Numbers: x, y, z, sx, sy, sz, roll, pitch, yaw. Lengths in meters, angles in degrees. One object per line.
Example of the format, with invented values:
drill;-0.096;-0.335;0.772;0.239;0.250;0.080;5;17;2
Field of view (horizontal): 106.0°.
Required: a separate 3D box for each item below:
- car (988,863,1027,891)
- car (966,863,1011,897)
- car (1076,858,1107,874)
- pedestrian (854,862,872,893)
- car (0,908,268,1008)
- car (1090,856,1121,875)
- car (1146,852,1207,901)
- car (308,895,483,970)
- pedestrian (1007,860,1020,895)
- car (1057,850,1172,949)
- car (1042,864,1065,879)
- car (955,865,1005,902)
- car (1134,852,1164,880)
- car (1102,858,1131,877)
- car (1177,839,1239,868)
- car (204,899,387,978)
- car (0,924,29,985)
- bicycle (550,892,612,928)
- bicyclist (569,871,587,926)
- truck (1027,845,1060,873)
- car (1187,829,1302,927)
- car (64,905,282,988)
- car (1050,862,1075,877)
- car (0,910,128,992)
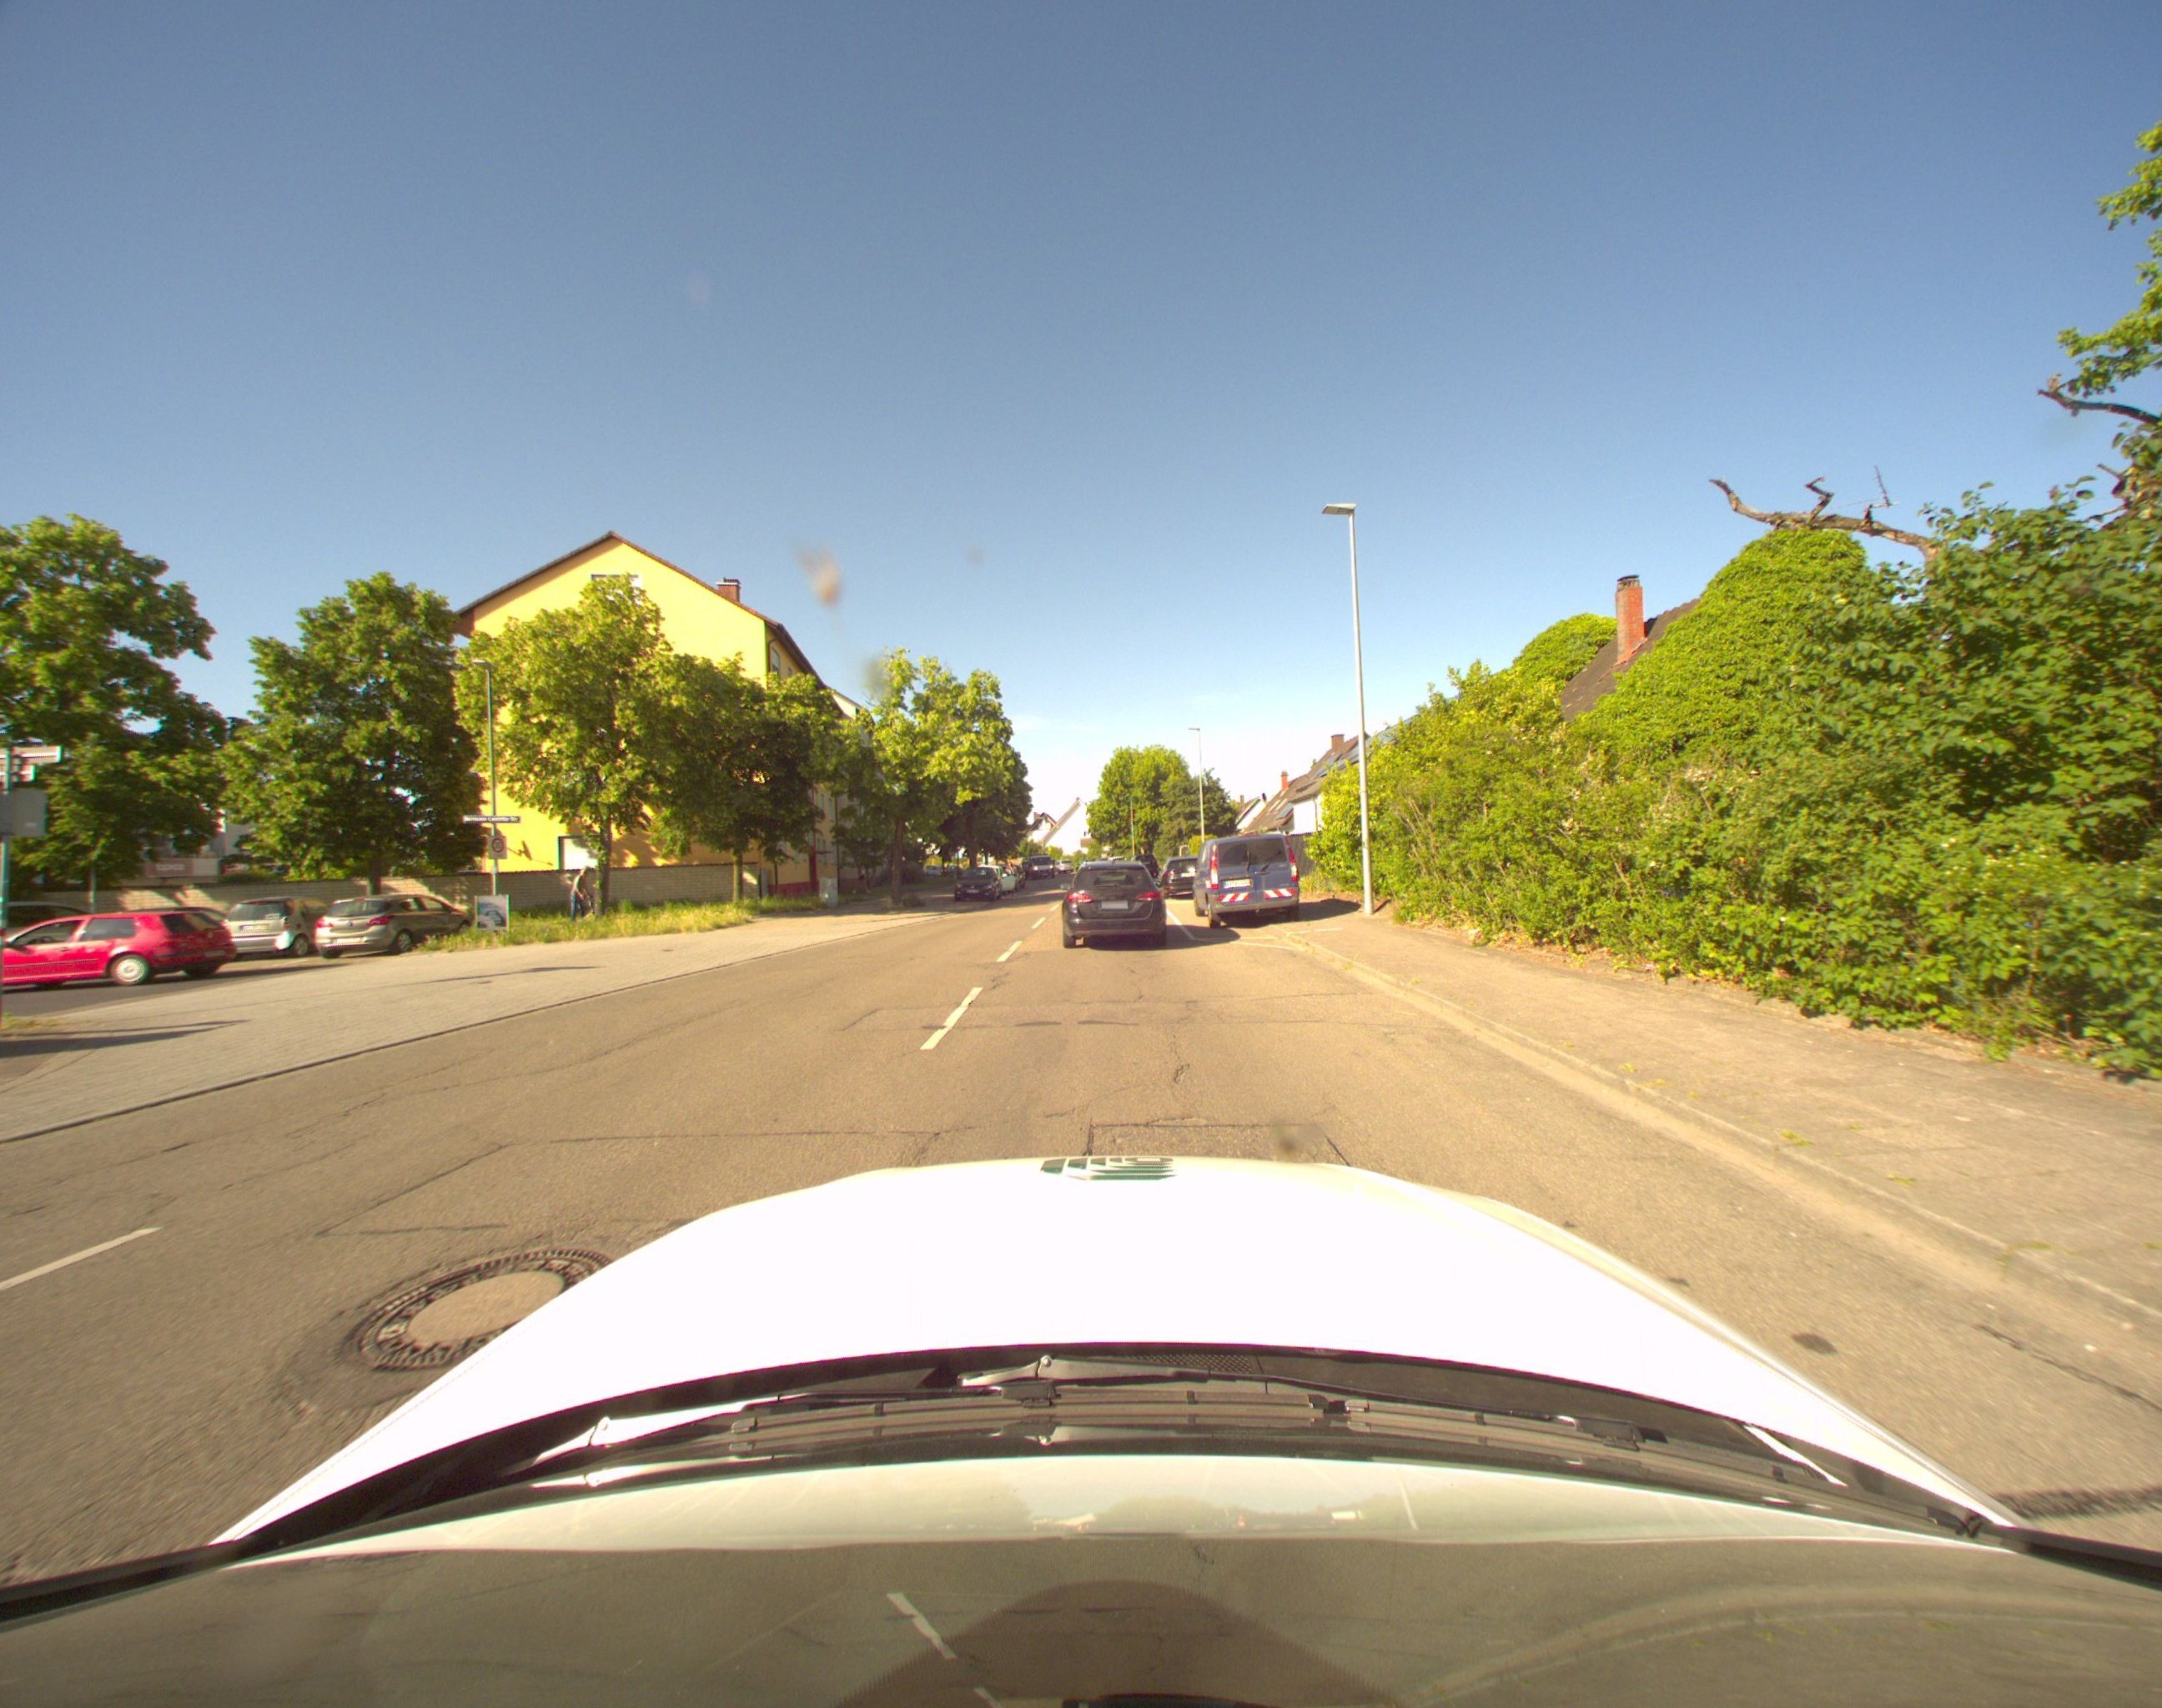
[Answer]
car;-4.405;1.373;49.160;1.650;1.510;4.004;-3;-1;3
car;-4.615;1.305;40.998;1.695;1.523;4.051;-5;-2;0
car;1.026;1.223;82.464;2.009;1.475;4.273;-4;-1;-14
pedestrian;-12.303;1.341;45.918;0.683;1.718;0.720;-4;-2;1
car;-19.768;2.067;16.346;4.386;1.568;2.008;-2;0;-15
car;2.287;1.111;76.864;1.913;1.600;4.276;-4;-1;-12
car;3.381;0.736;29.716;1.758;1.480;4.995;-5;0;3
car;-17.658;1.948;21.232;1.730;1.464;3.867;-4;0;-11
pedestrian;-3.457;1.195;41.480;0.503;1.761;0.694;-4;-2;-2
car;0.606;0.751;15.105;1.755;1.491;4.292;-3;-1;2
car;-3.285;2.080;96.209;1.823;1.534;4.237;-4;-1;-15
car;-4.344;1.290;35.430;1.696;1.480;4.049;-2;-2;-1
car;4.661;0.816;56.392;1.771;1.724;4.296;-4;-1;2
car;3.139;1.233;72.446;1.760;1.480;4.281;-4;-1;-8
car;10.250;-0.063;66.141;4.663;1.983;2.144;-4;-1;1
car;-20.726;2.158;21.731;1.700;1.622;3.863;-3;0;-14
car;-28.027;2.628;19.286;1.502;1.505;3.868;-4;0;-10
bicycle;-15.693;1.751;25.595;1.627;1.011;0.402;-3;0;-30
bicyclist;-15.788;1.384;25.571;0.391;1.686;0.378;-3;-3;-30
truck;-3.449;0.465;76.515;2.119;2.334;6.451;-5;-1;5
car;3.615;0.494;18.821;1.829;1.907;4.701;-3;0;3
car;-22.815;2.246;20.713;1.700;1.463;3.864;-3;2;-14
car;-2.078;1.792;91.240;1.823;1.534;4.237;-4;-1;-15
car;-25.473;2.344;19.219;1.698;1.679;3.868;-4;0;-10
